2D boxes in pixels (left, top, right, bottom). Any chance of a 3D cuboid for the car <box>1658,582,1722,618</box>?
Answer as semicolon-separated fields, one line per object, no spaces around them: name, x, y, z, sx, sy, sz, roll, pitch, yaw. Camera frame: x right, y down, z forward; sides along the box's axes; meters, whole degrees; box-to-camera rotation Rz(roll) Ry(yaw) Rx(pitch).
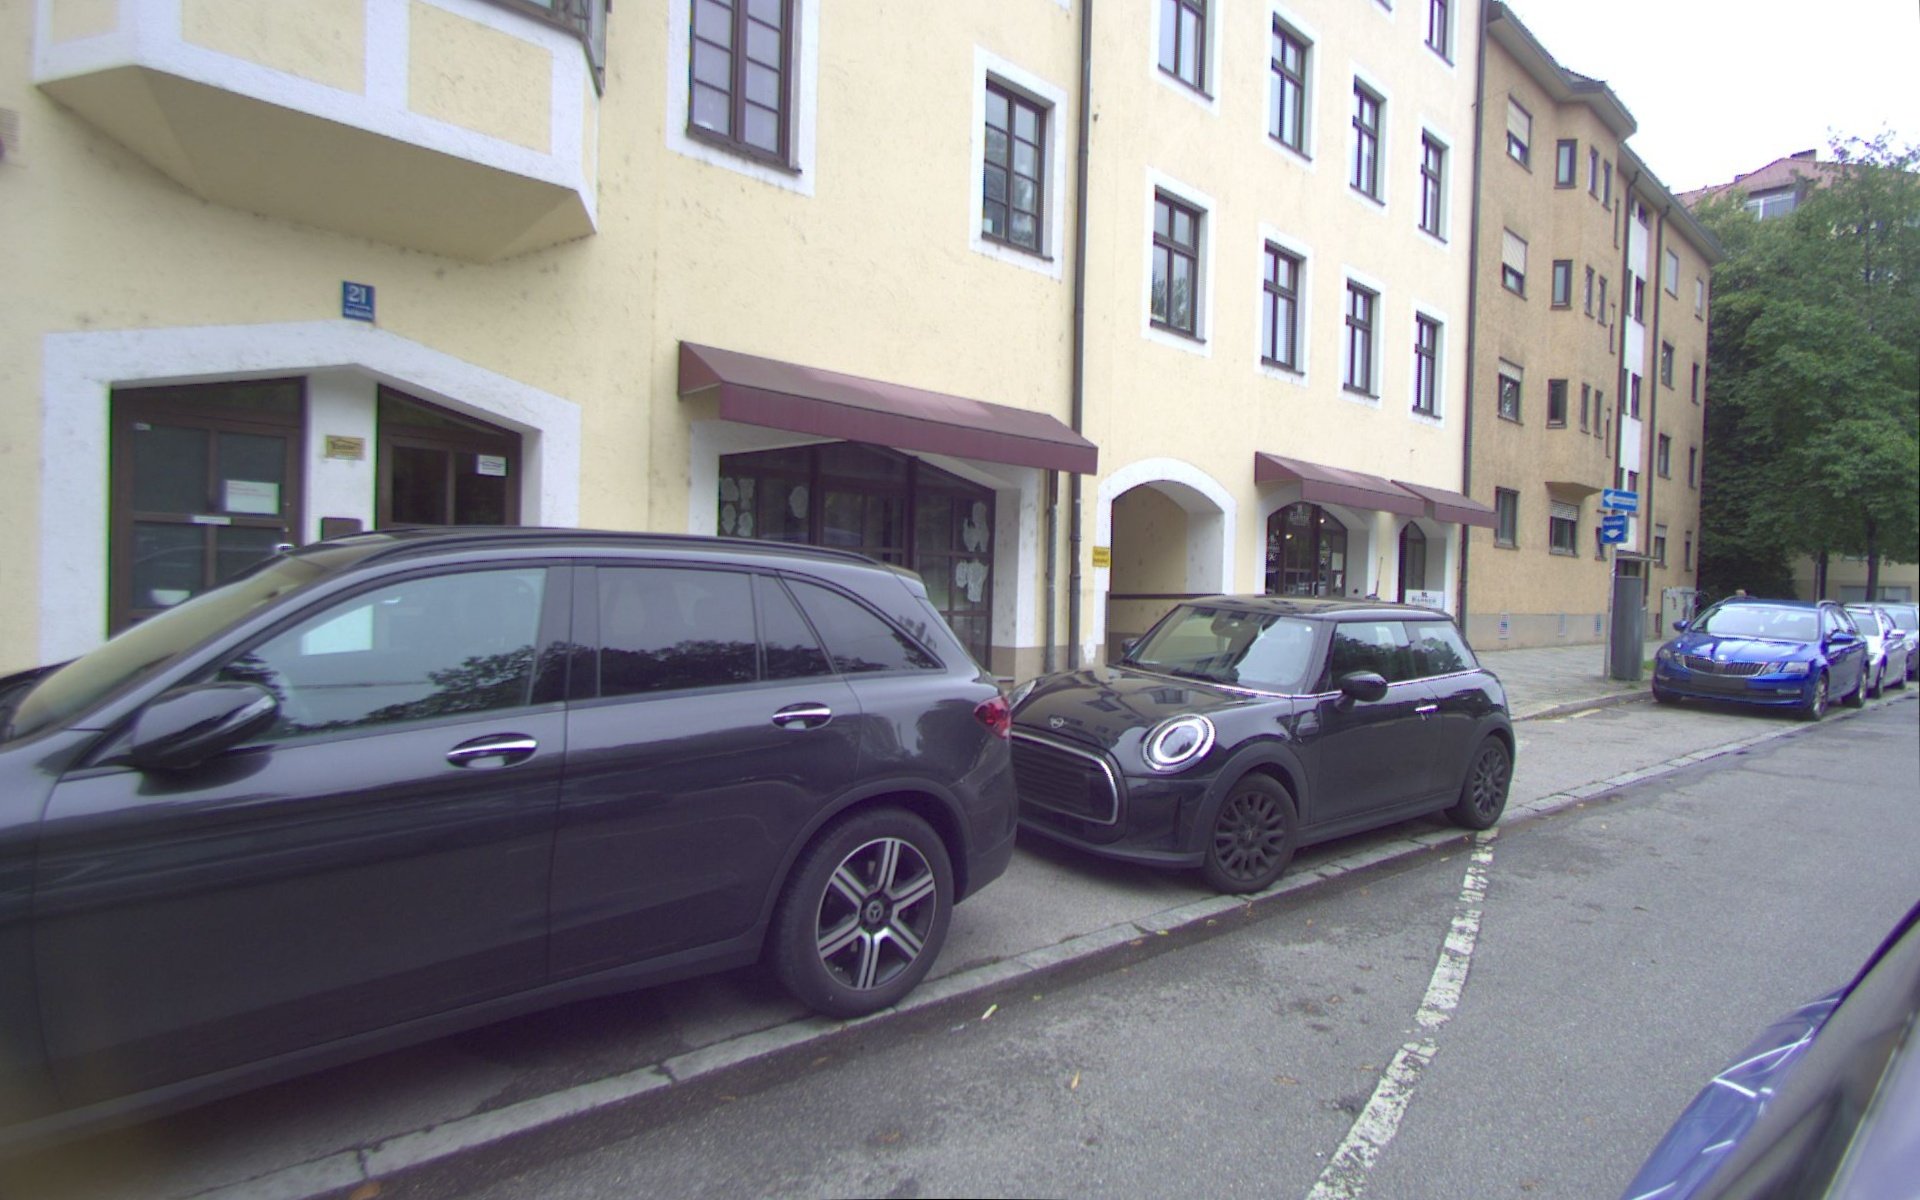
car;38.273;0.009;53.062;4.173;1.773;1.915;0;2;-43

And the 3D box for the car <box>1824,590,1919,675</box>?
car;18.998;0.616;20.469;3.719;1.514;1.632;0;3;-39

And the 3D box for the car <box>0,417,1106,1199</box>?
car;-1.786;0.449;3.191;4.622;1.700;1.761;0;3;-40

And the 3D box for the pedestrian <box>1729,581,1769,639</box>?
pedestrian;22.829;0.281;29.271;0.962;1.644;0.672;-1;2;-38

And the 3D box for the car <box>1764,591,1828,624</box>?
car;40.885;0.364;49.476;4.175;1.485;1.914;0;2;-44

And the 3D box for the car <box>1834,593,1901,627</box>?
car;42.853;0.448;47.756;4.175;1.485;2.050;0;2;-44

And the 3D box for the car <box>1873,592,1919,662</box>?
car;22.609;0.624;23.397;3.752;1.514;1.632;0;3;-39

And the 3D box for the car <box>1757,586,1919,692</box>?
car;15.228;0.590;17.230;4.355;1.514;1.695;0;3;-40

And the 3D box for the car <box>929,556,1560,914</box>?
car;1.868;0.567;6.206;3.751;1.514;1.762;0;3;-37

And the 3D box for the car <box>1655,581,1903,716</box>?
car;11.381;0.565;13.957;4.407;1.514;1.761;0;3;-39
